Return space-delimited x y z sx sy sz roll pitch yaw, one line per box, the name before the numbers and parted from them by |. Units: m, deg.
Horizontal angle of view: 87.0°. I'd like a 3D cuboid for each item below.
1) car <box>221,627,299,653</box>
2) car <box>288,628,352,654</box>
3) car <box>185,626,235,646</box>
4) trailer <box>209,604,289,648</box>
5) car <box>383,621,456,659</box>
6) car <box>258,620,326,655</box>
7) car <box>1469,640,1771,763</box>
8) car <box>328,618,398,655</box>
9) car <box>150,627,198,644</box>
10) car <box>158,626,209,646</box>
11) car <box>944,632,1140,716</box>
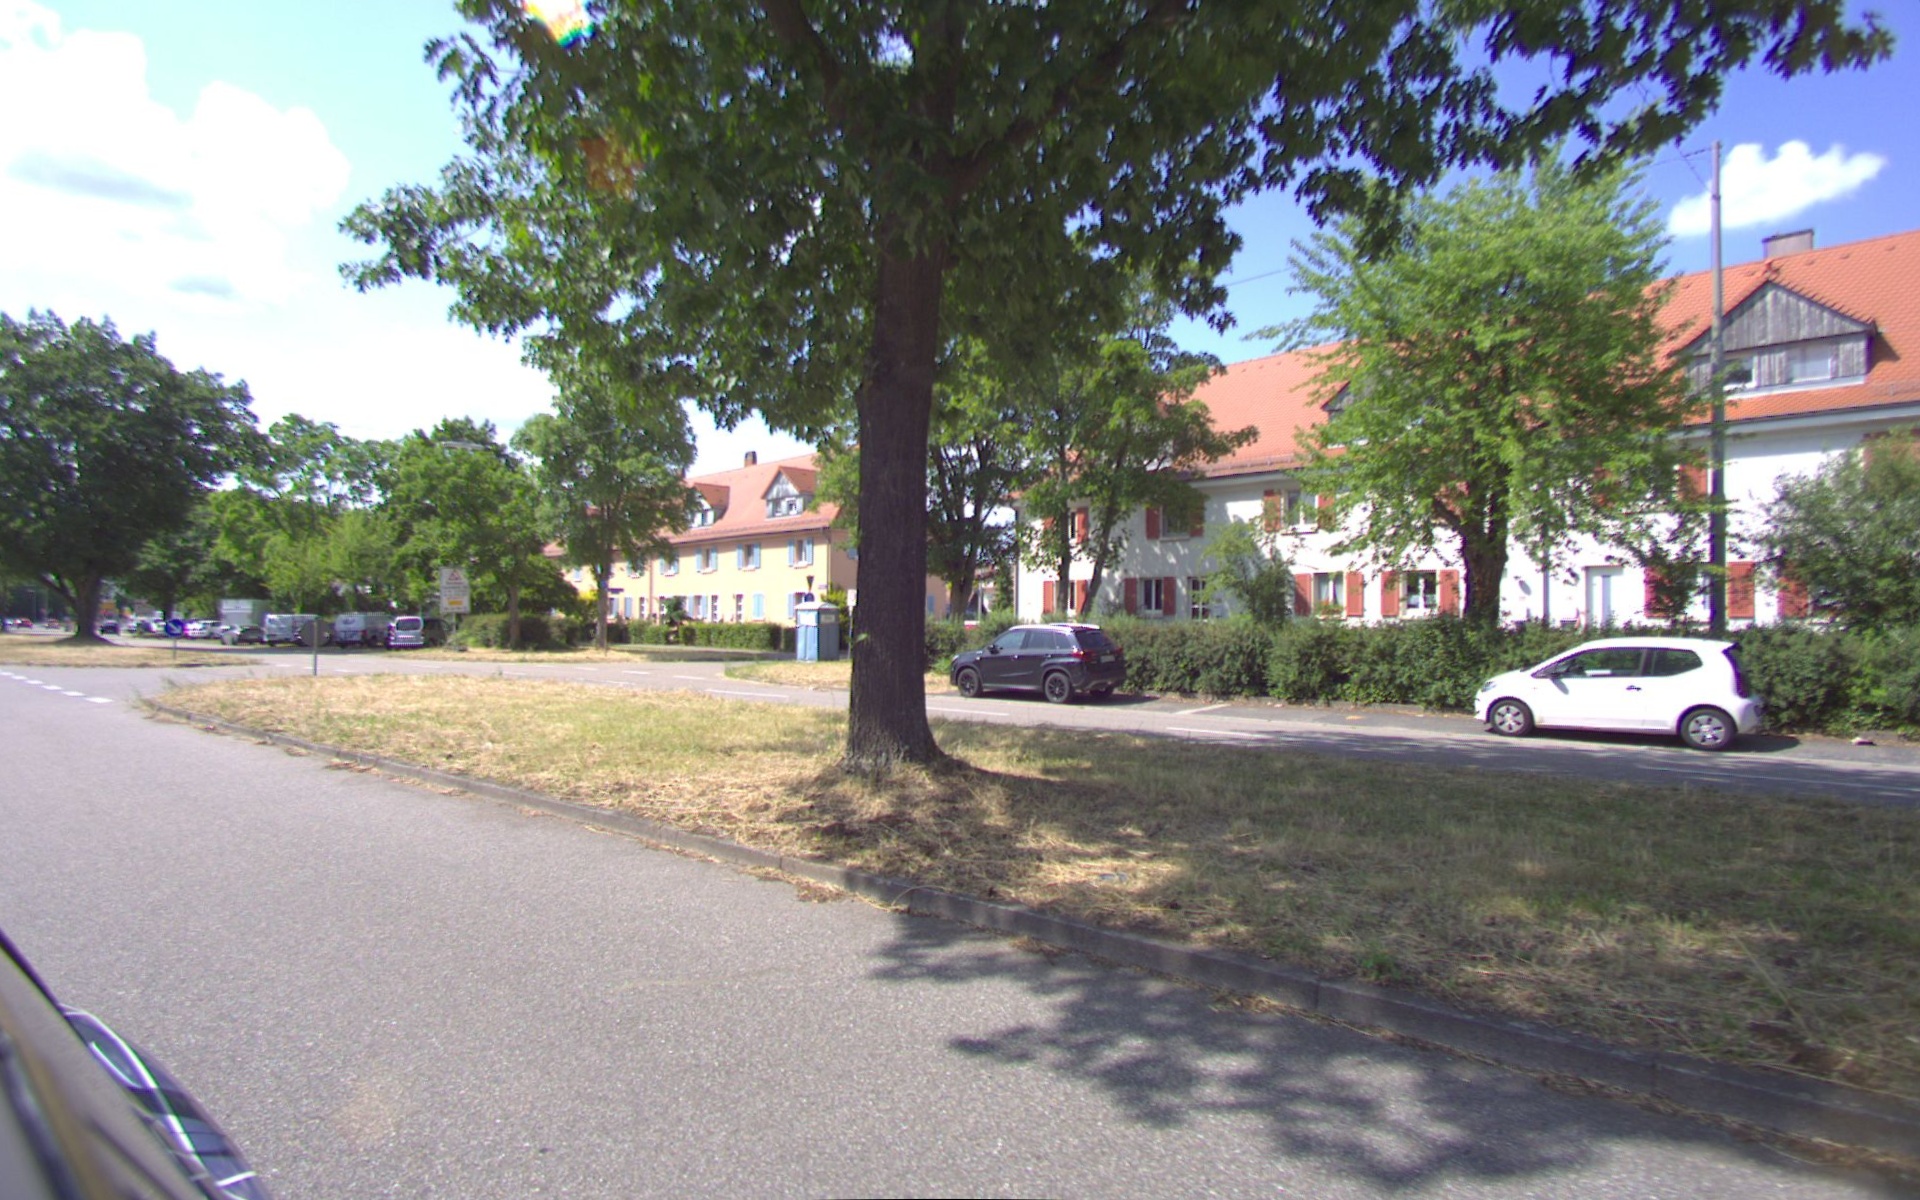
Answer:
car | -46.319 2.644 67.025 1.800 1.522 3.944 -1 0 42
car | -39.561 2.522 62.661 1.551 1.408 4.001 -1 0 -1
car | -62.021 2.945 83.719 1.646 1.475 3.826 -1 0 -7
trailer | -53.799 1.960 76.748 2.782 3.132 5.766 -1 -1 -10
car | -28.029 2.032 52.598 1.779 1.874 4.001 -1 -1 -1
car | -42.208 2.316 64.038 1.779 2.029 4.001 -1 0 -1
car | 9.613 1.386 14.872 3.533 1.472 1.577 -1 0 41
car | -34.835 2.091 59.134 1.779 2.029 4.001 -1 0 -1
car | -69.071 3.108 88.994 1.646 1.358 3.826 -1 0 -7
car | -64.615 2.981 84.255 1.646 1.475 3.826 -1 0 -7
car | 1.715 1.523 21.982 3.998 1.564 1.749 -1 0 41
